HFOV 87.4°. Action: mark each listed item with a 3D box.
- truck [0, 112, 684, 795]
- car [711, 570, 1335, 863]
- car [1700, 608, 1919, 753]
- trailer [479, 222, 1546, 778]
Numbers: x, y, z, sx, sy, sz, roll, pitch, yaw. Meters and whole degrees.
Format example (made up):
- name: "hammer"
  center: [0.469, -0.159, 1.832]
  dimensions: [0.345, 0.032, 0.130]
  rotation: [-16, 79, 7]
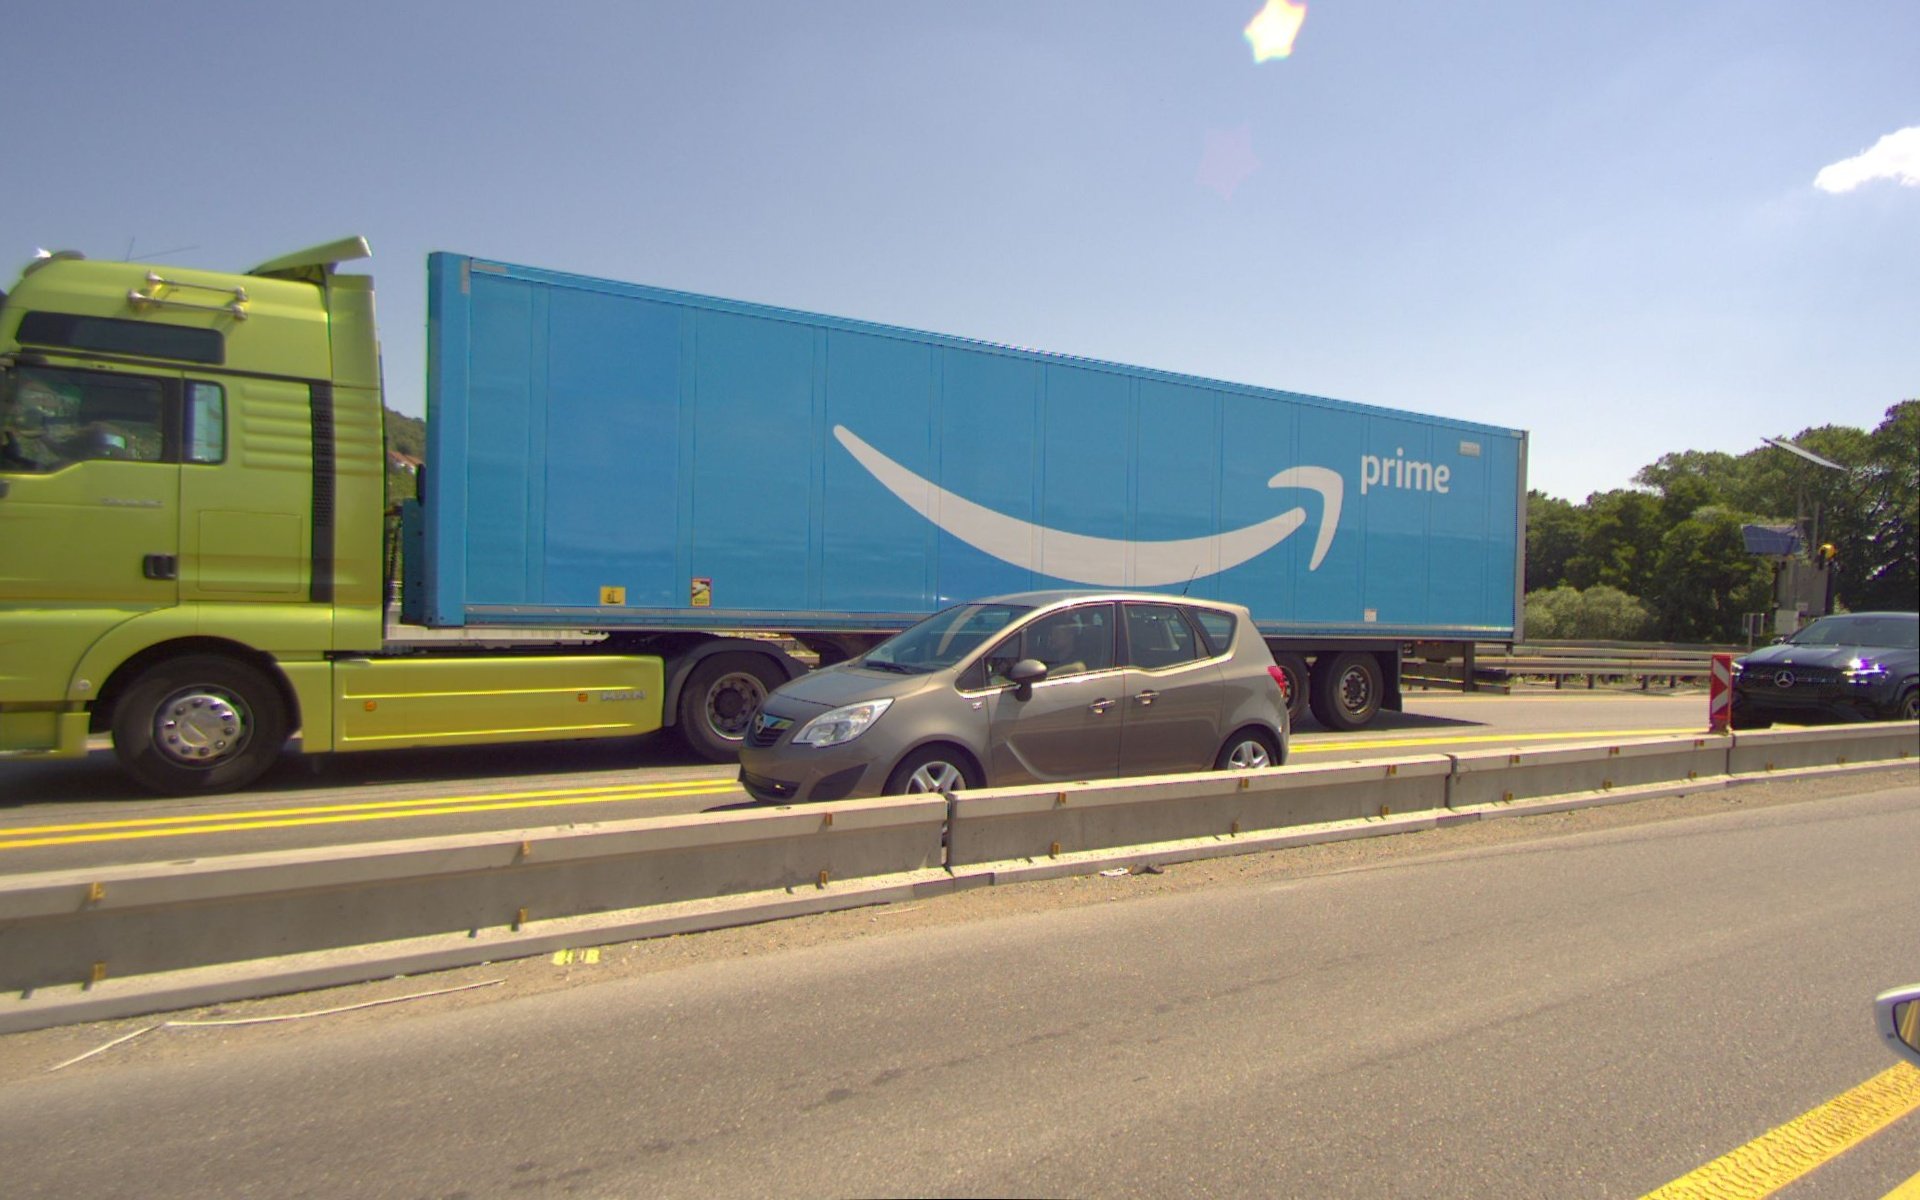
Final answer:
- name: "truck"
  center: [-5.068, -0.880, 8.471]
  dimensions: [4.675, 4.327, 2.613]
  rotation: [3, 1, -29]
- name: "car"
  center: [0.533, 0.667, 7.341]
  dimensions: [4.248, 1.606, 1.812]
  rotation: [1, 0, -29]
- name: "car"
  center: [12.506, 1.001, 13.597]
  dimensions: [4.647, 1.669, 1.877]
  rotation: [1, 1, -23]
- name: "trailer"
  center: [1.592, -0.536, 12.082]
  dimensions: [13.140, 4.350, 2.637]
  rotation: [3, 1, -27]
